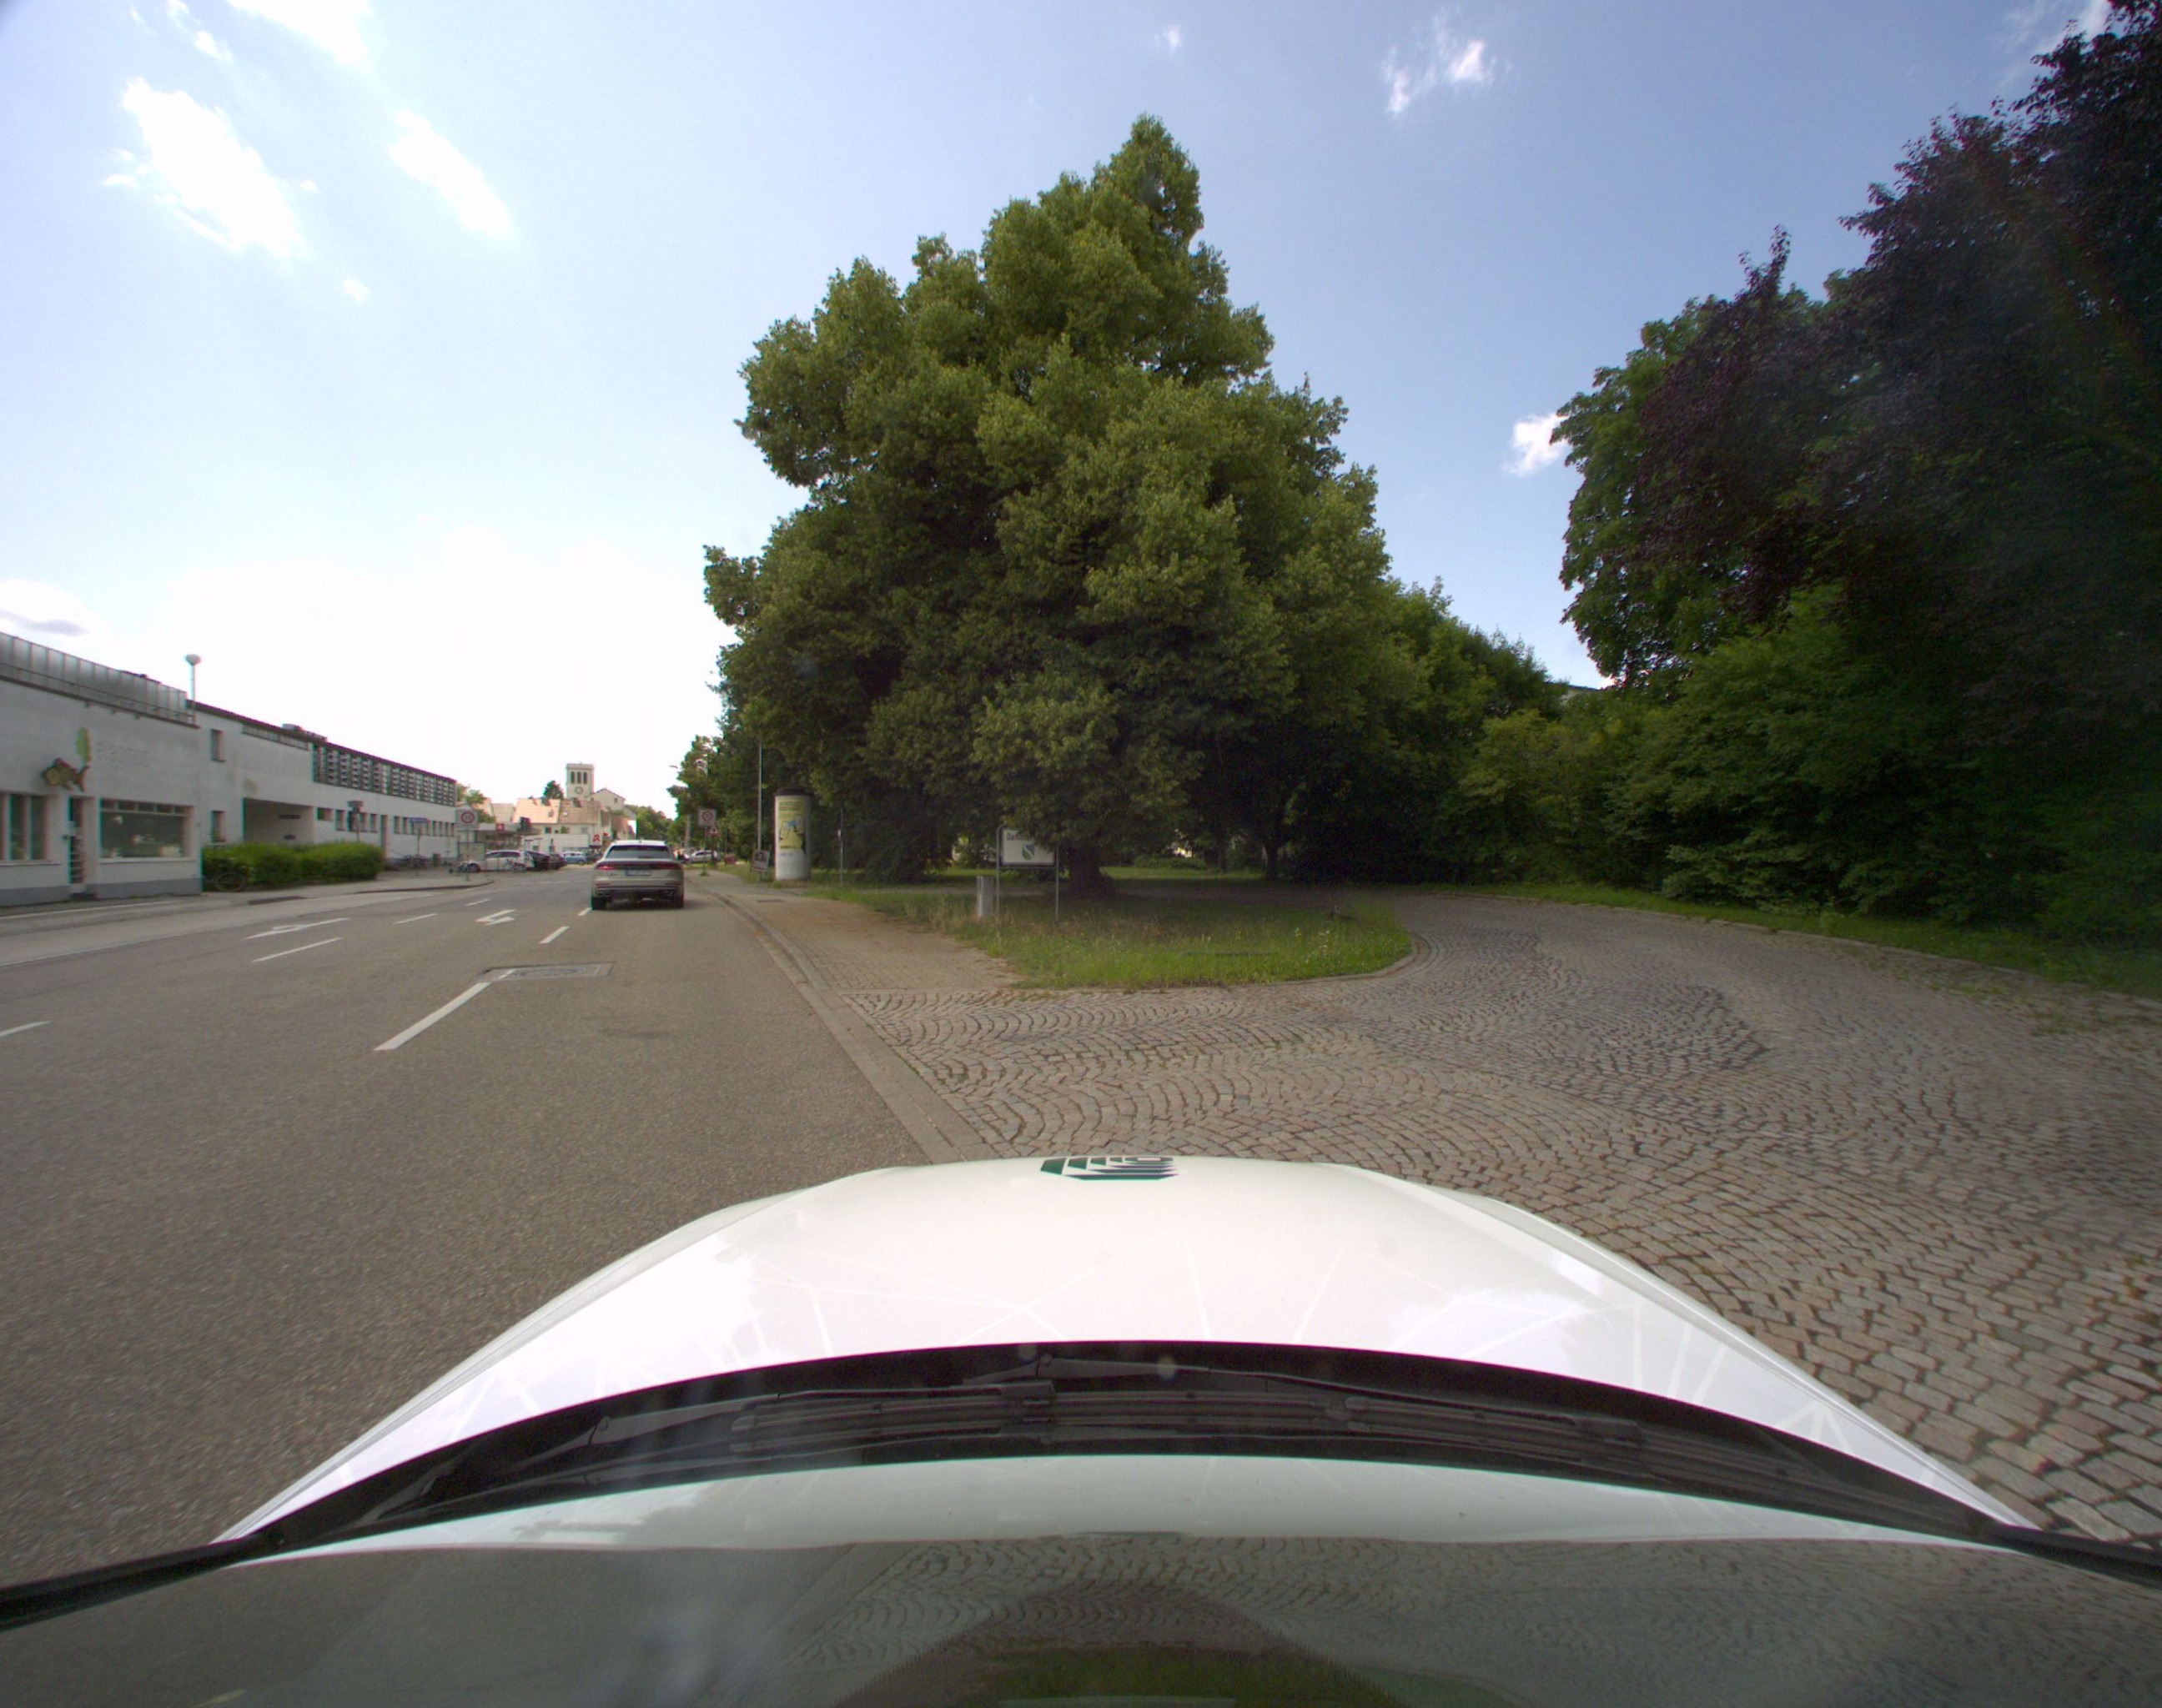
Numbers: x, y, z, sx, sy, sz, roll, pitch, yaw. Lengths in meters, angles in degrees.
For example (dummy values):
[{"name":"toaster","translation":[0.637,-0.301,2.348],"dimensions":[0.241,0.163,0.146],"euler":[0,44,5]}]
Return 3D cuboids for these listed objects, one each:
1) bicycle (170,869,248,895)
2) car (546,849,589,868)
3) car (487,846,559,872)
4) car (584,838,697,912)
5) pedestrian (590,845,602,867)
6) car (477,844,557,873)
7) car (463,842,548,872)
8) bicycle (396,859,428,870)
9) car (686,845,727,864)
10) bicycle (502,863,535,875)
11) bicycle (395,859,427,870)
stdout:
[{"name":"bicycle","translation":[-28.187,0.891,26.353],"dimensions":[1.685,0.757,0.406],"euler":[-1,1,-44]},{"name":"car","translation":[-56.919,0.476,90.340],"dimensions":[4.015,2.013,1.980],"euler":[-1,1,-33]},{"name":"car","translation":[-44.513,0.363,65.137],"dimensions":[4.663,2.014,1.980],"euler":[-1,-1,-32]},{"name":"car","translation":[-11.234,0.457,21.093],"dimensions":[1.989,1.684,4.542],"euler":[1,0,-21]},{"name":"pedestrian","translation":[-46.147,0.175,77.511],"dimensions":[0.914,2.135,1.005],"euler":[0,0,-26]},{"name":"car","translation":[-41.033,0.292,59.395],"dimensions":[4.663,2.014,1.980],"euler":[-1,-1,-32]},{"name":"car","translation":[-39.436,0.187,55.968],"dimensions":[4.663,2.014,1.980],"euler":[-1,-1,-32]},{"name":"bicycle","translation":[-47.926,0.766,58.386],"dimensions":[0.563,0.757,1.685],"euler":[0,-1,37]},{"name":"car","translation":[-41.898,0.013,91.259],"dimensions":[4.002,2.013,1.986],"euler":[-1,1,-22]},{"name":"bicycle","translation":[-36.560,0.967,52.948],"dimensions":[1.681,0.757,0.564],"euler":[1,-1,-32]},{"name":"bicycle","translation":[-48.487,0.752,58.908],"dimensions":[0.563,0.757,1.685],"euler":[0,-1,37]}]
